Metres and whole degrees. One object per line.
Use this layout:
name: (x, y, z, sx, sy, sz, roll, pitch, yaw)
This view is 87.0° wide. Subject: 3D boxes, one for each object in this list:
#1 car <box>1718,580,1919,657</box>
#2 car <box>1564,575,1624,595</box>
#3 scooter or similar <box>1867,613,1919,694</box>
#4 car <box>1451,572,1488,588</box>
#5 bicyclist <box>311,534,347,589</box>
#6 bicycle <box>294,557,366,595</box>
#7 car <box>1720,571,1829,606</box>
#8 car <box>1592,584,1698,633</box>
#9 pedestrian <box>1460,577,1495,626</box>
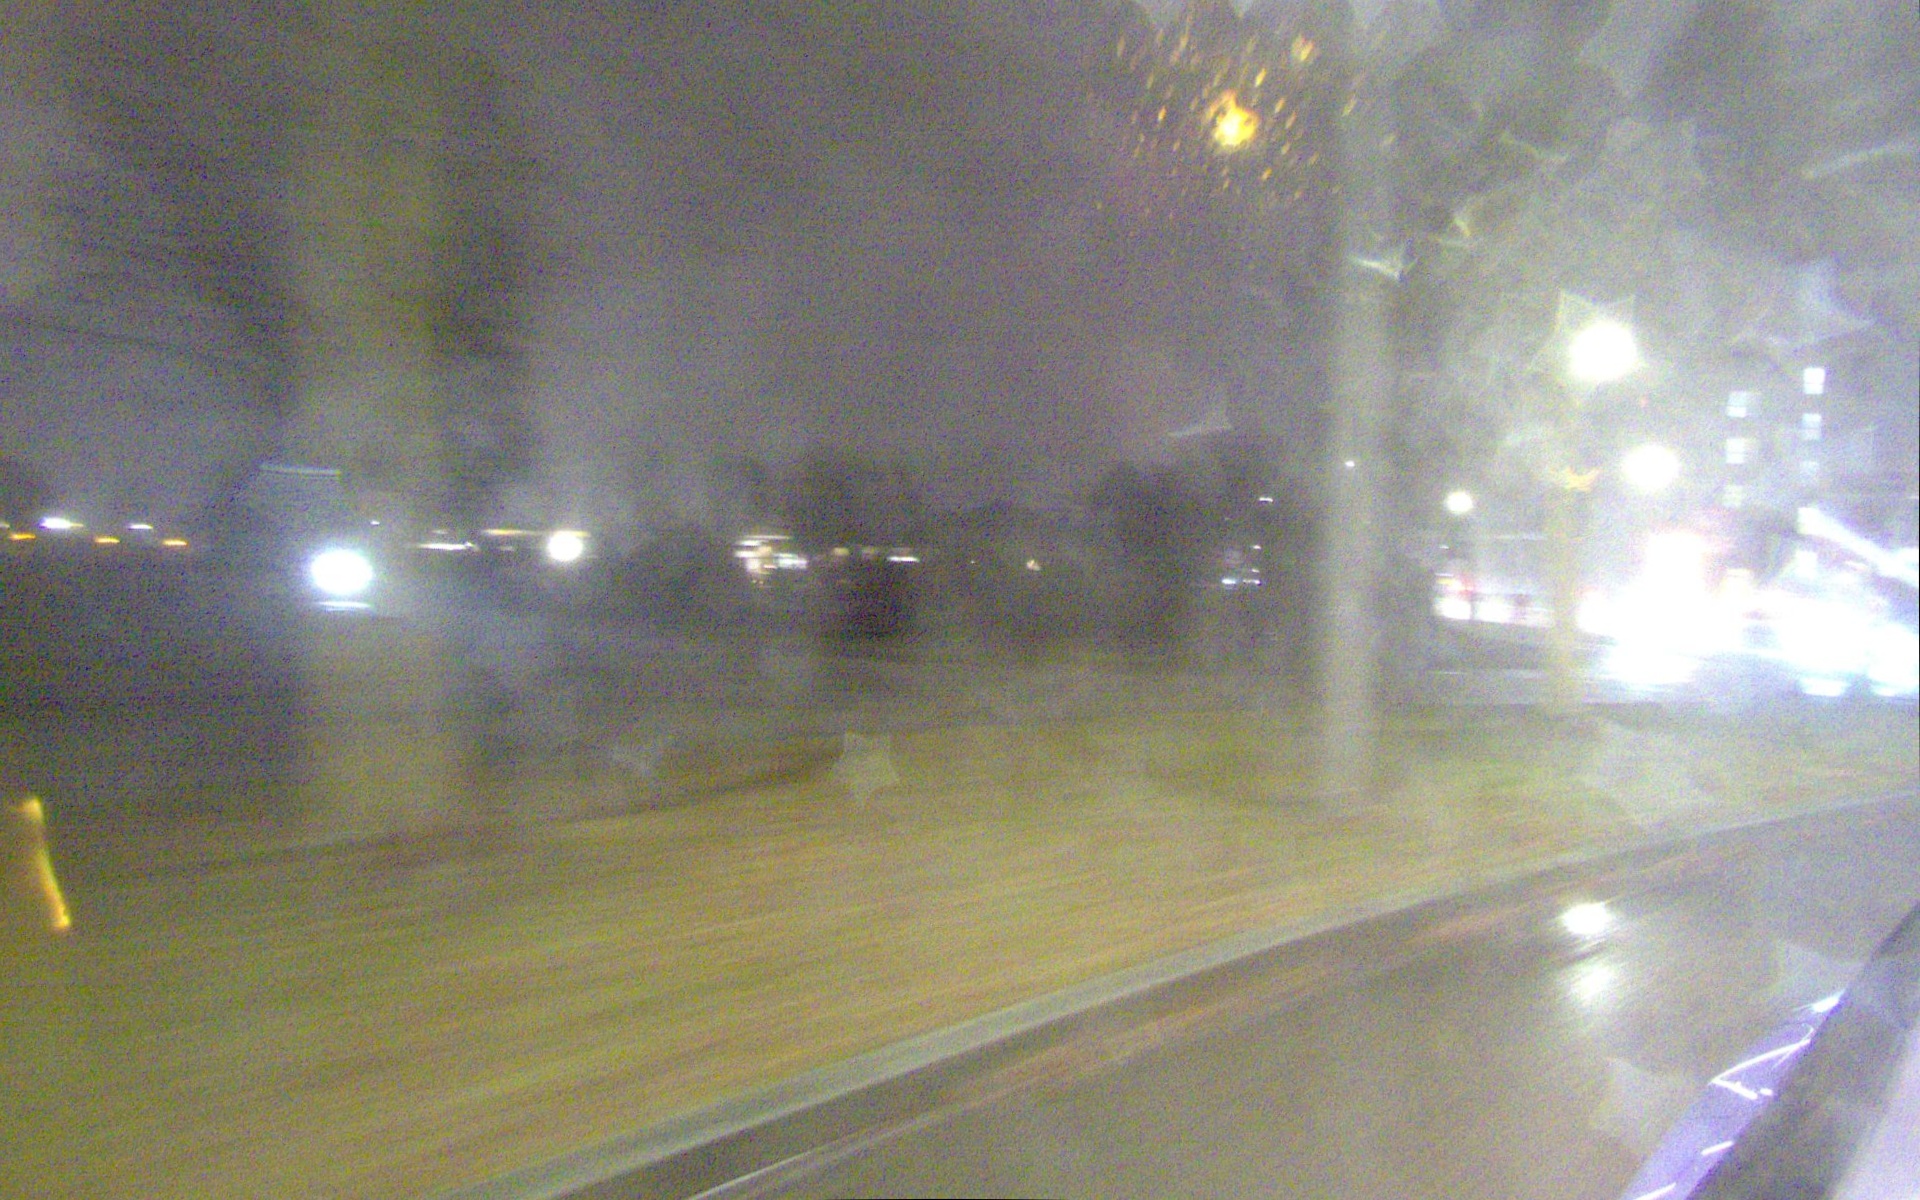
car: (21.916, 0.385, 26.088, 1.920, 1.740, 4.431, 0, 2, 9)
car: (49.979, -1.210, 79.908, 1.966, 1.419, 5.340, 0, 2, 8)
scooter or similar: (13.860, 0.781, 14.580, 1.099, 1.111, 0.313, 4, 3, 38)
car: (50.595, -1.986, 100.568, 1.804, 1.482, 4.651, 0, 2, 7)
bicyclist: (-17.170, -1.054, 27.556, 0.600, 1.465, 0.610, 1, 2, 30)
bicycle: (-17.158, -0.662, 27.526, 2.401, 0.988, 0.615, 1, 2, 31)
car: (42.686, -0.645, 53.204, 2.034, 1.737, 5.033, 0, 2, 6)
car: (26.677, 0.292, 39.580, 1.805, 1.727, 4.184, 0, 2, 9)
pedestrian: (16.176, 0.037, 31.653, 0.716, 1.503, 0.834, 0, 1, 9)
